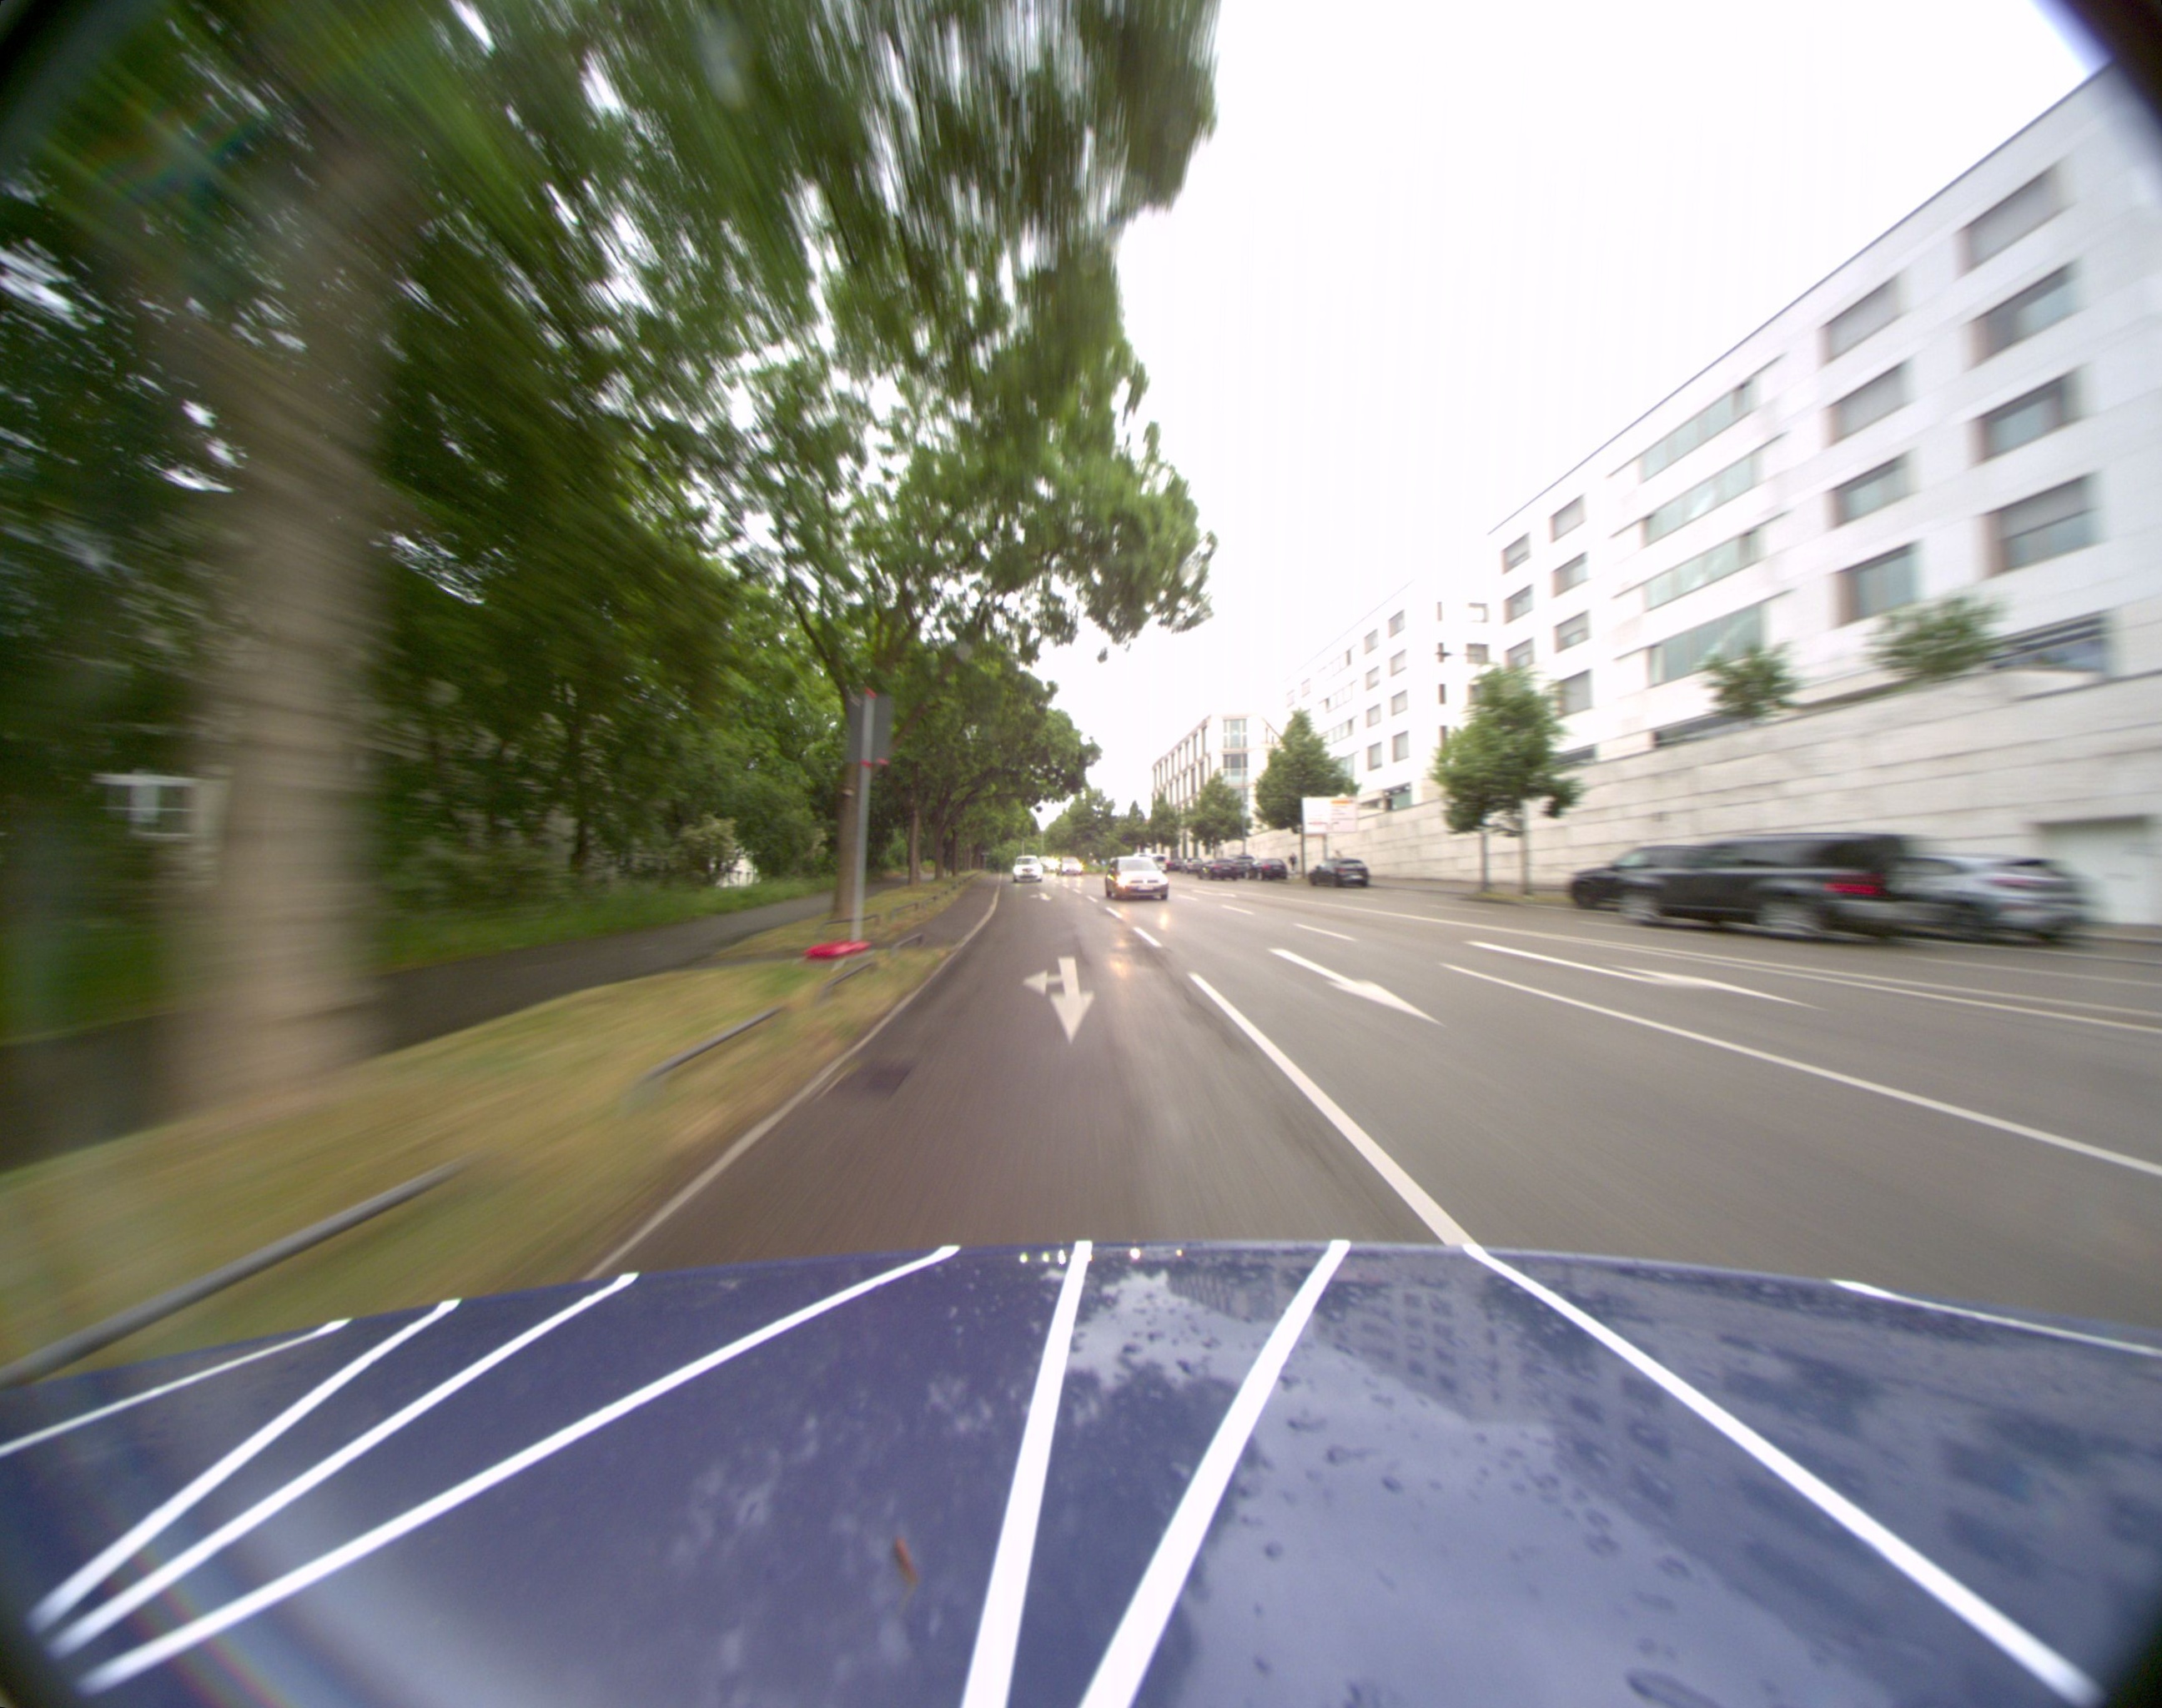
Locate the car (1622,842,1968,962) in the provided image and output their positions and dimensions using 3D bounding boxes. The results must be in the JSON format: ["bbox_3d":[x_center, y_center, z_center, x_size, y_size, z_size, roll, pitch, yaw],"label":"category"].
[{"bbox_3d":[12.902,0.783,14.251,1.927,1.846,4.503,2,-1,-7],"label":"car"}]

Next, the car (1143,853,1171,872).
[{"bbox_3d":[7.172,0.800,71.858,1.715,1.736,4.335,2,-1,-6],"label":"car"}]

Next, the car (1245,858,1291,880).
[{"bbox_3d":[12.055,0.955,49.279,1.700,1.352,4.161,0,0,-5],"label":"car"}]

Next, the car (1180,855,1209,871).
[{"bbox_3d":[10.250,0.815,68.746,1.700,1.436,3.858,-2,0,-4],"label":"car"}]

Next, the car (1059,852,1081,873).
[{"bbox_3d":[-0.870,0.684,60.813,1.670,1.520,3.658,-1,-3,-2],"label":"car"}]

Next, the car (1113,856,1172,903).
[{"bbox_3d":[2.168,0.838,26.537,1.904,1.431,4.001,0,1,5],"label":"car"}]

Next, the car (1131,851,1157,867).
[{"bbox_3d":[7.813,0.643,94.535,2.128,1.805,5.258,-1,-1,-7],"label":"car"}]

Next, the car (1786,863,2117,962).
[{"bbox_3d":[15.567,0.951,13.922,1.684,1.506,3.708,0,0,-6],"label":"car"}]

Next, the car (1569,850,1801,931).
[{"bbox_3d":[14.944,0.810,19.208,1.862,1.770,4.593,-1,0,-7],"label":"car"}]

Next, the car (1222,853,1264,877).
[{"bbox_3d":[11.676,0.757,55.063,1.708,1.611,4.359,0,0,-5],"label":"car"}]

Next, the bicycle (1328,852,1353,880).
[{"bbox_3d":[15.977,0.698,46.770,0.745,1.648,1.879,-2,1,-5],"label":"bicycle"}]

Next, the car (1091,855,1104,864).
[{"bbox_3d":[2.662,0.894,121.567,1.646,1.402,3.996,1,-3,-6],"label":"car"}]

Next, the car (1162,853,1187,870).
[{"bbox_3d":[9.319,0.722,76.358,1.700,1.572,4.015,0,0,-5],"label":"car"}]

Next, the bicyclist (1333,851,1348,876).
[{"bbox_3d":[15.953,0.565,46.644,0.578,1.509,0.768,0,2,-5],"label":"bicyclist"}]

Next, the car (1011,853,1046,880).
[{"bbox_3d":[-3.232,0.719,46.364,1.646,1.512,3.575,-1,1,-12],"label":"car"}]

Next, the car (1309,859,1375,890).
[{"bbox_3d":[13.035,0.969,38.139,1.684,1.418,3.963,-1,0,-5],"label":"car"}]

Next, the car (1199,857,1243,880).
[{"bbox_3d":[9.183,0.923,50.237,1.776,1.373,4.188,2,0,-6],"label":"car"}]

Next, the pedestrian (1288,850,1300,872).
[{"bbox_3d":[17.064,0.590,60.923,0.720,1.764,0.691,-1,-1,-6],"label":"pedestrian"}]
